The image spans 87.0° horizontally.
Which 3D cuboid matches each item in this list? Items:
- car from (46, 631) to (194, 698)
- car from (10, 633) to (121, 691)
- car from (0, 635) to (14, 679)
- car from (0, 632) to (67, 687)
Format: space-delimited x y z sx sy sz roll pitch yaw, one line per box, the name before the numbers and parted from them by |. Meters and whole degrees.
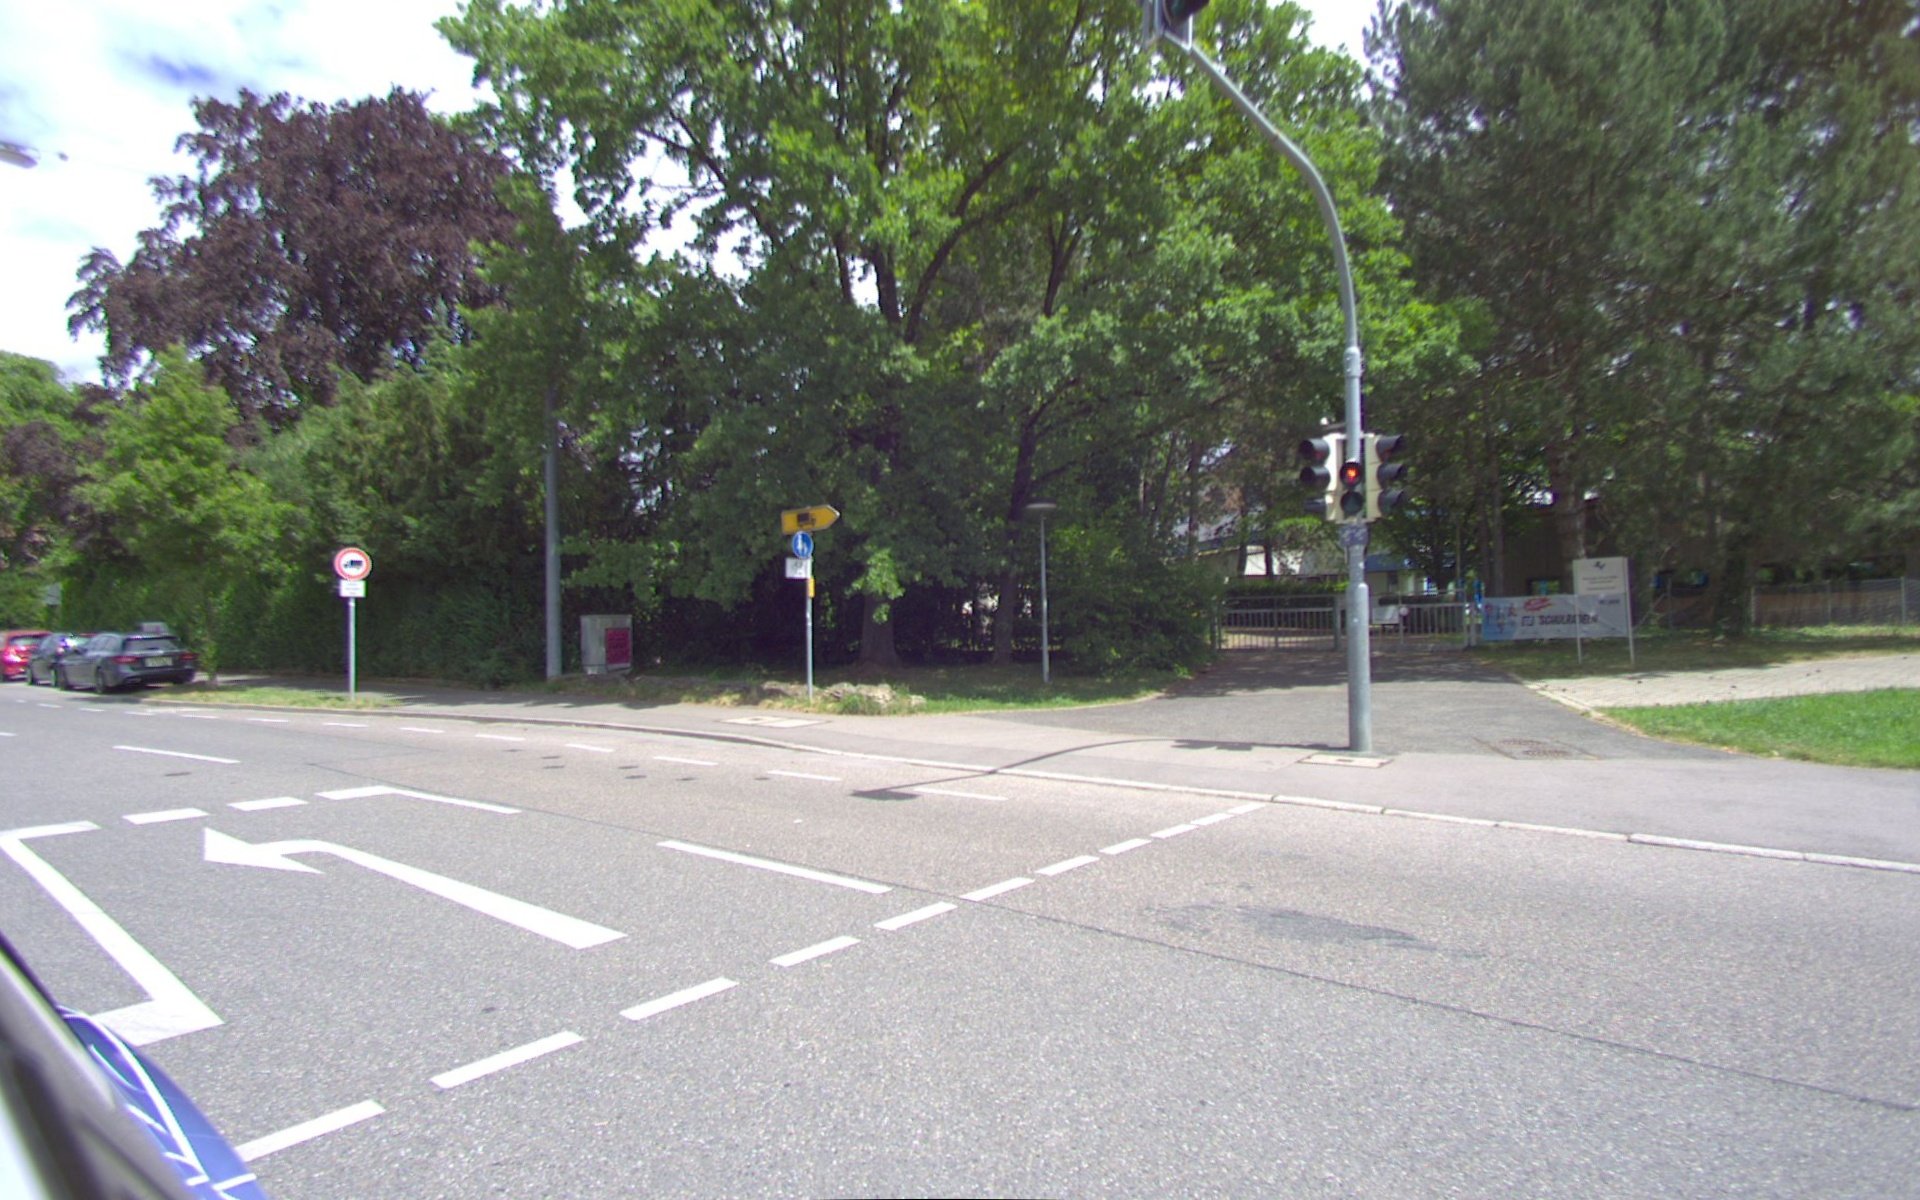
car | -20.774 1.528 24.984 4.391 1.426 1.669 -1 1 34
car | -24.557 1.662 27.764 3.185 1.422 1.542 -1 0 34
car | -32.514 1.880 33.074 3.363 1.377 1.515 -1 0 32
car | -28.227 1.732 30.146 3.313 1.489 1.508 -1 0 31
